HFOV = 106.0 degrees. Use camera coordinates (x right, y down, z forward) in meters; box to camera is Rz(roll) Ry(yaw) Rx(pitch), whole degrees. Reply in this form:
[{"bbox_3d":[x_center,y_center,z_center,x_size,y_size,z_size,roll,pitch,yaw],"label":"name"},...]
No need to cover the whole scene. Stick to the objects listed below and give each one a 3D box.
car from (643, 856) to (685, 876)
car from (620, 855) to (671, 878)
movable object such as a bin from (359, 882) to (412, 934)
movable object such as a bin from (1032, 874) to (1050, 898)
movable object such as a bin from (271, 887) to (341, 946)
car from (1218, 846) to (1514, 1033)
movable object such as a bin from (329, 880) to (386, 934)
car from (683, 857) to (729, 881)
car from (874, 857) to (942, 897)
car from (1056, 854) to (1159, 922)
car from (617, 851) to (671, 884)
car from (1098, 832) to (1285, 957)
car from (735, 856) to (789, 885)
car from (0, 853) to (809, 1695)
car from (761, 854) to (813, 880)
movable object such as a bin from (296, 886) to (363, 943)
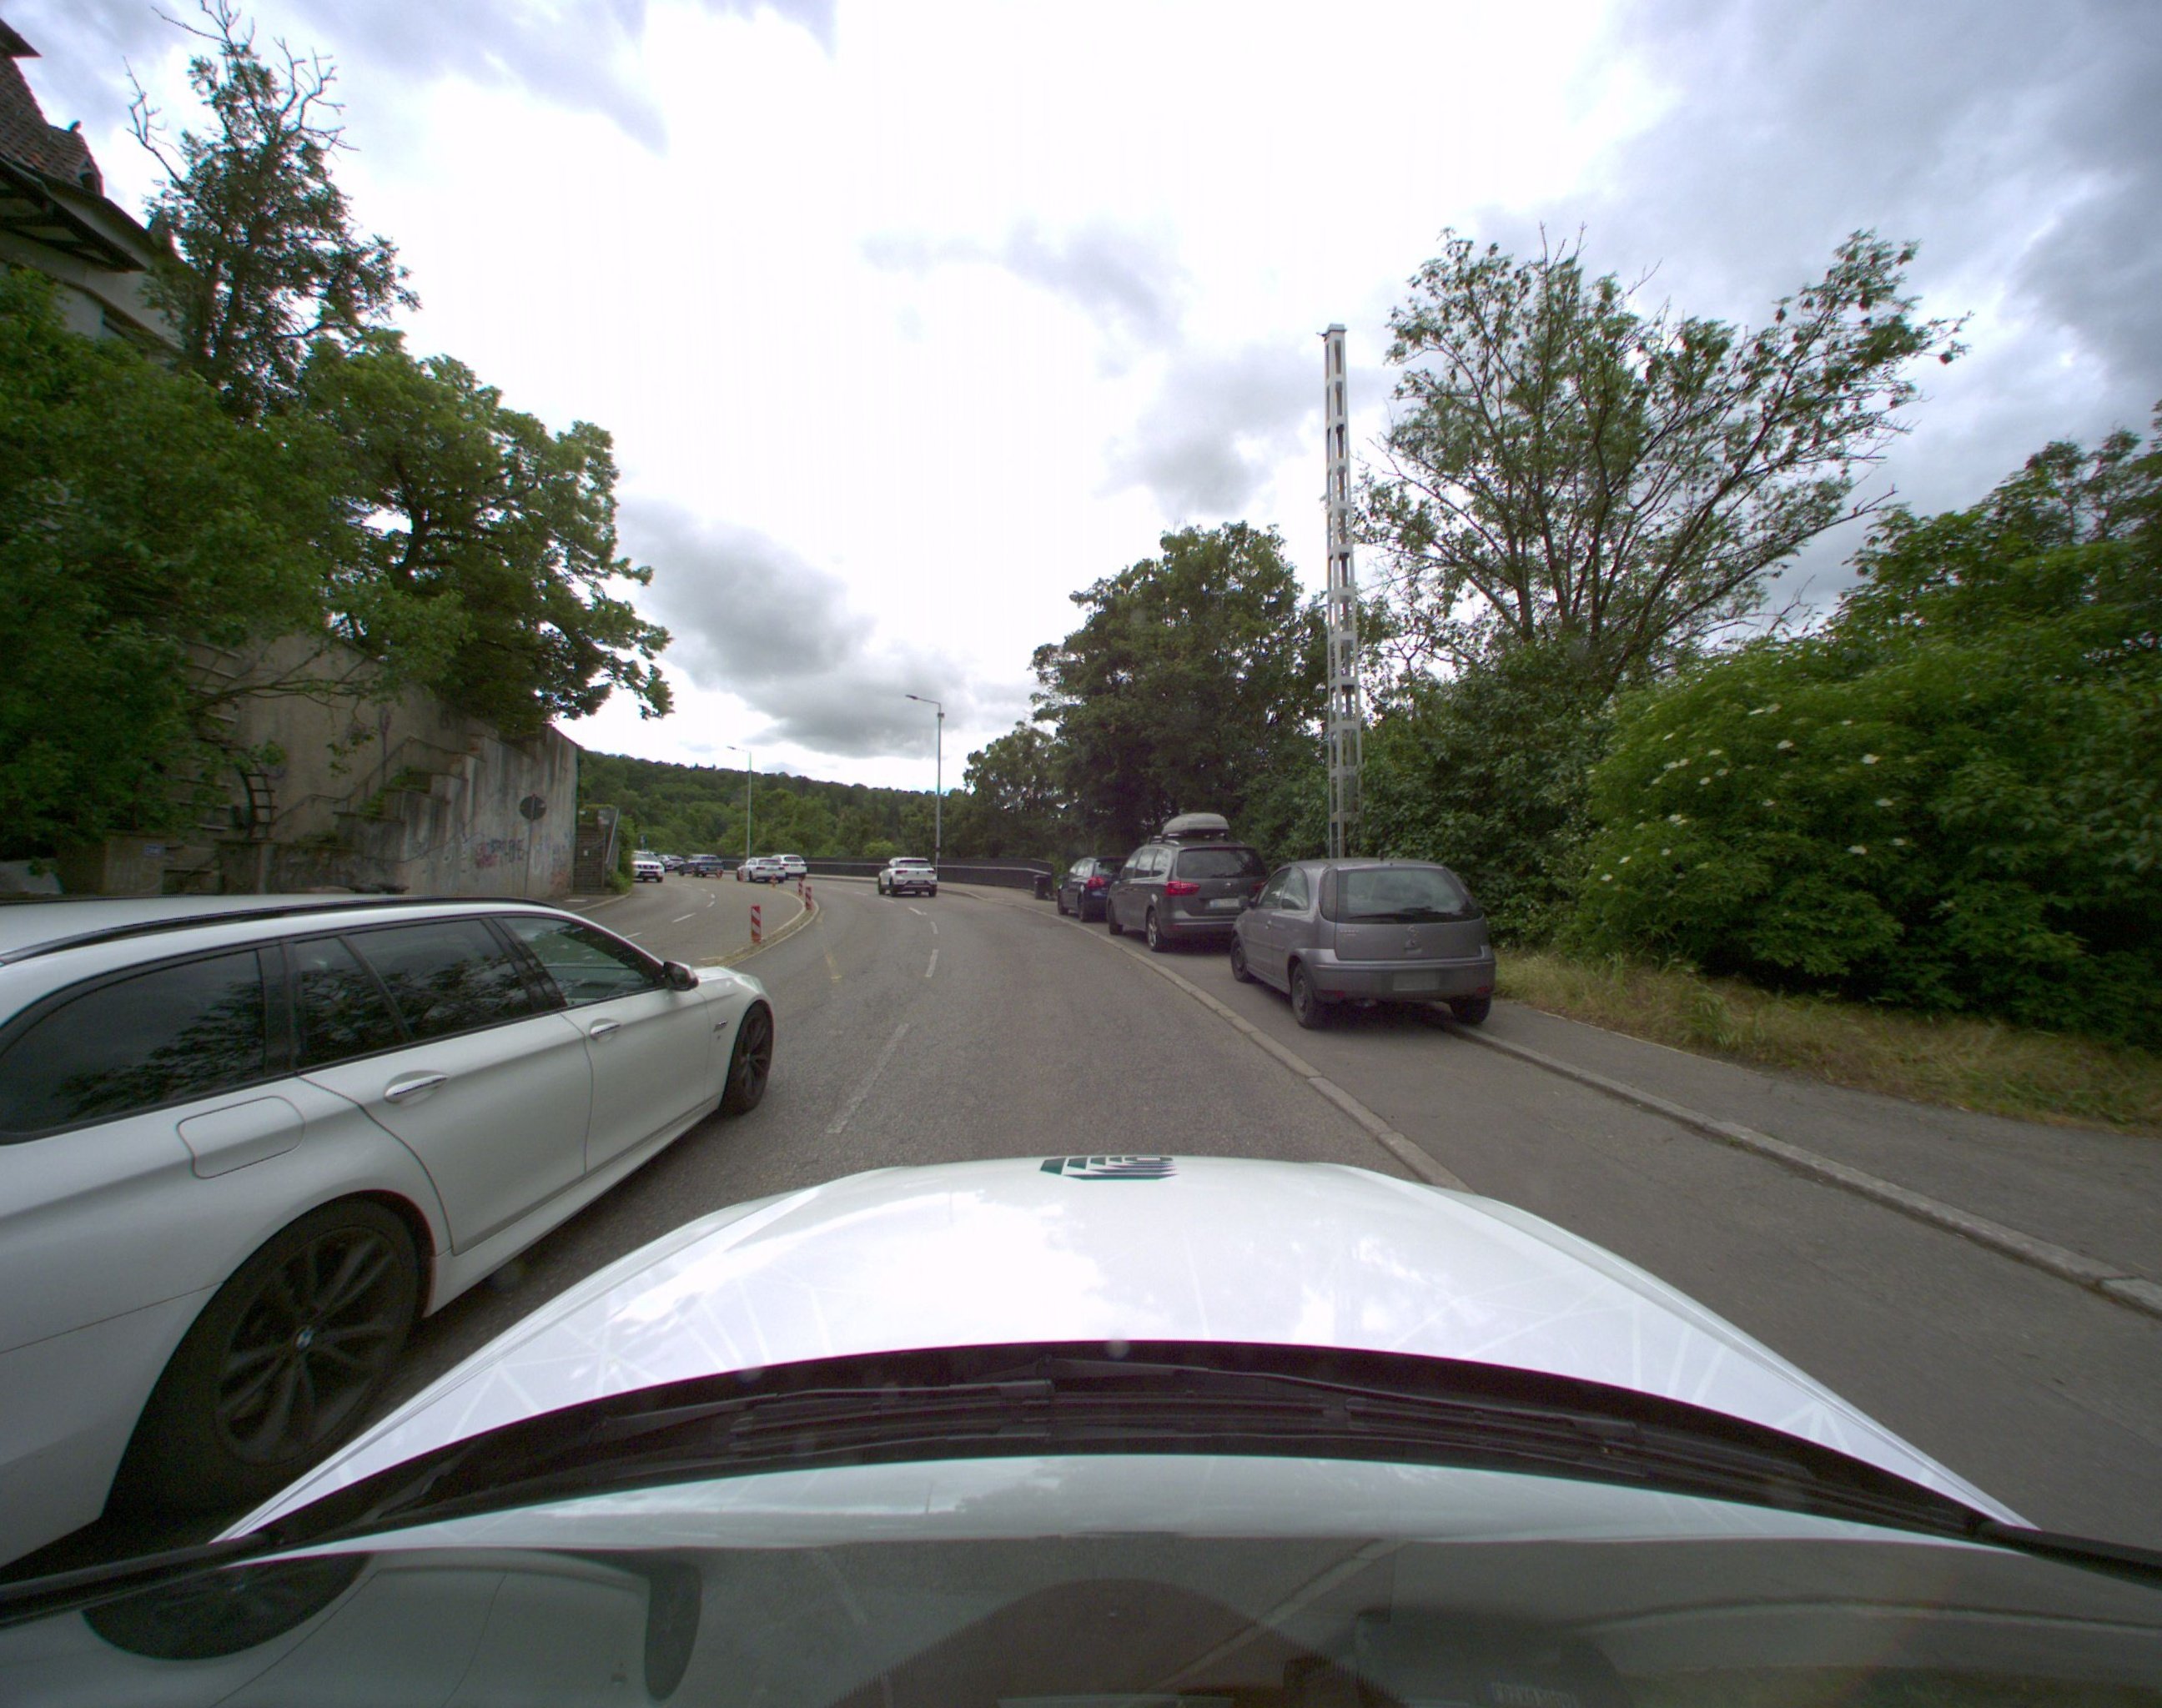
[{"bbox_3d":[-34.493,1.011,67.336,3.490,1.525,1.710,1,-1,36],"label":"car"},{"bbox_3d":[-34.261,0.975,64.037,3.948,1.689,1.833,1,-1,34],"label":"car"},{"bbox_3d":[-13.339,1.031,15.635,0.543,0.949,0.565,2,-1,-12],"label":"movable object such as a bin"},{"bbox_3d":[-1.550,1.240,31.383,0.522,0.881,0.528,2,-1,-22],"label":"movable object such as a bin"},{"bbox_3d":[-13.009,1.042,13.686,0.607,0.949,0.554,2,-1,-12],"label":"movable object such as a bin"},{"bbox_3d":[2.570,0.687,8.387,1.636,1.464,3.999,0,-1,-1],"label":"car"},{"bbox_3d":[-13.311,0.963,14.994,0.543,0.949,0.565,2,-1,-12],"label":"movable object such as a bin"},{"bbox_3d":[-26.289,1.013,57.051,2.009,1.541,3.965,2,-1,-38],"label":"car"},{"bbox_3d":[-7.106,0.894,33.187,1.876,1.537,3.771,0,-1,-25],"label":"car"},{"bbox_3d":[0.533,0.754,19.838,1.660,1.487,4.020,0,0,-11],"label":"car"},{"bbox_3d":[-25.656,0.762,47.719,1.926,1.828,5.247,0,0,-37],"label":"car"},{"bbox_3d":[1.668,0.587,14.038,1.799,1.772,4.589,0,0,-11],"label":"car"},{"bbox_3d":[-18.690,0.945,47.669,1.921,1.574,3.955,2,-1,-37],"label":"car"},{"bbox_3d":[-2.864,0.760,3.373,1.842,1.467,4.876,2,0,-1],"label":"car"},{"bbox_3d":[-19.399,0.827,53.602,2.010,1.586,3.954,2,-1,-39],"label":"car"},{"bbox_3d":[-13.129,1.043,14.240,0.607,0.949,0.578,2,-1,-12],"label":"movable object such as a bin"}]
